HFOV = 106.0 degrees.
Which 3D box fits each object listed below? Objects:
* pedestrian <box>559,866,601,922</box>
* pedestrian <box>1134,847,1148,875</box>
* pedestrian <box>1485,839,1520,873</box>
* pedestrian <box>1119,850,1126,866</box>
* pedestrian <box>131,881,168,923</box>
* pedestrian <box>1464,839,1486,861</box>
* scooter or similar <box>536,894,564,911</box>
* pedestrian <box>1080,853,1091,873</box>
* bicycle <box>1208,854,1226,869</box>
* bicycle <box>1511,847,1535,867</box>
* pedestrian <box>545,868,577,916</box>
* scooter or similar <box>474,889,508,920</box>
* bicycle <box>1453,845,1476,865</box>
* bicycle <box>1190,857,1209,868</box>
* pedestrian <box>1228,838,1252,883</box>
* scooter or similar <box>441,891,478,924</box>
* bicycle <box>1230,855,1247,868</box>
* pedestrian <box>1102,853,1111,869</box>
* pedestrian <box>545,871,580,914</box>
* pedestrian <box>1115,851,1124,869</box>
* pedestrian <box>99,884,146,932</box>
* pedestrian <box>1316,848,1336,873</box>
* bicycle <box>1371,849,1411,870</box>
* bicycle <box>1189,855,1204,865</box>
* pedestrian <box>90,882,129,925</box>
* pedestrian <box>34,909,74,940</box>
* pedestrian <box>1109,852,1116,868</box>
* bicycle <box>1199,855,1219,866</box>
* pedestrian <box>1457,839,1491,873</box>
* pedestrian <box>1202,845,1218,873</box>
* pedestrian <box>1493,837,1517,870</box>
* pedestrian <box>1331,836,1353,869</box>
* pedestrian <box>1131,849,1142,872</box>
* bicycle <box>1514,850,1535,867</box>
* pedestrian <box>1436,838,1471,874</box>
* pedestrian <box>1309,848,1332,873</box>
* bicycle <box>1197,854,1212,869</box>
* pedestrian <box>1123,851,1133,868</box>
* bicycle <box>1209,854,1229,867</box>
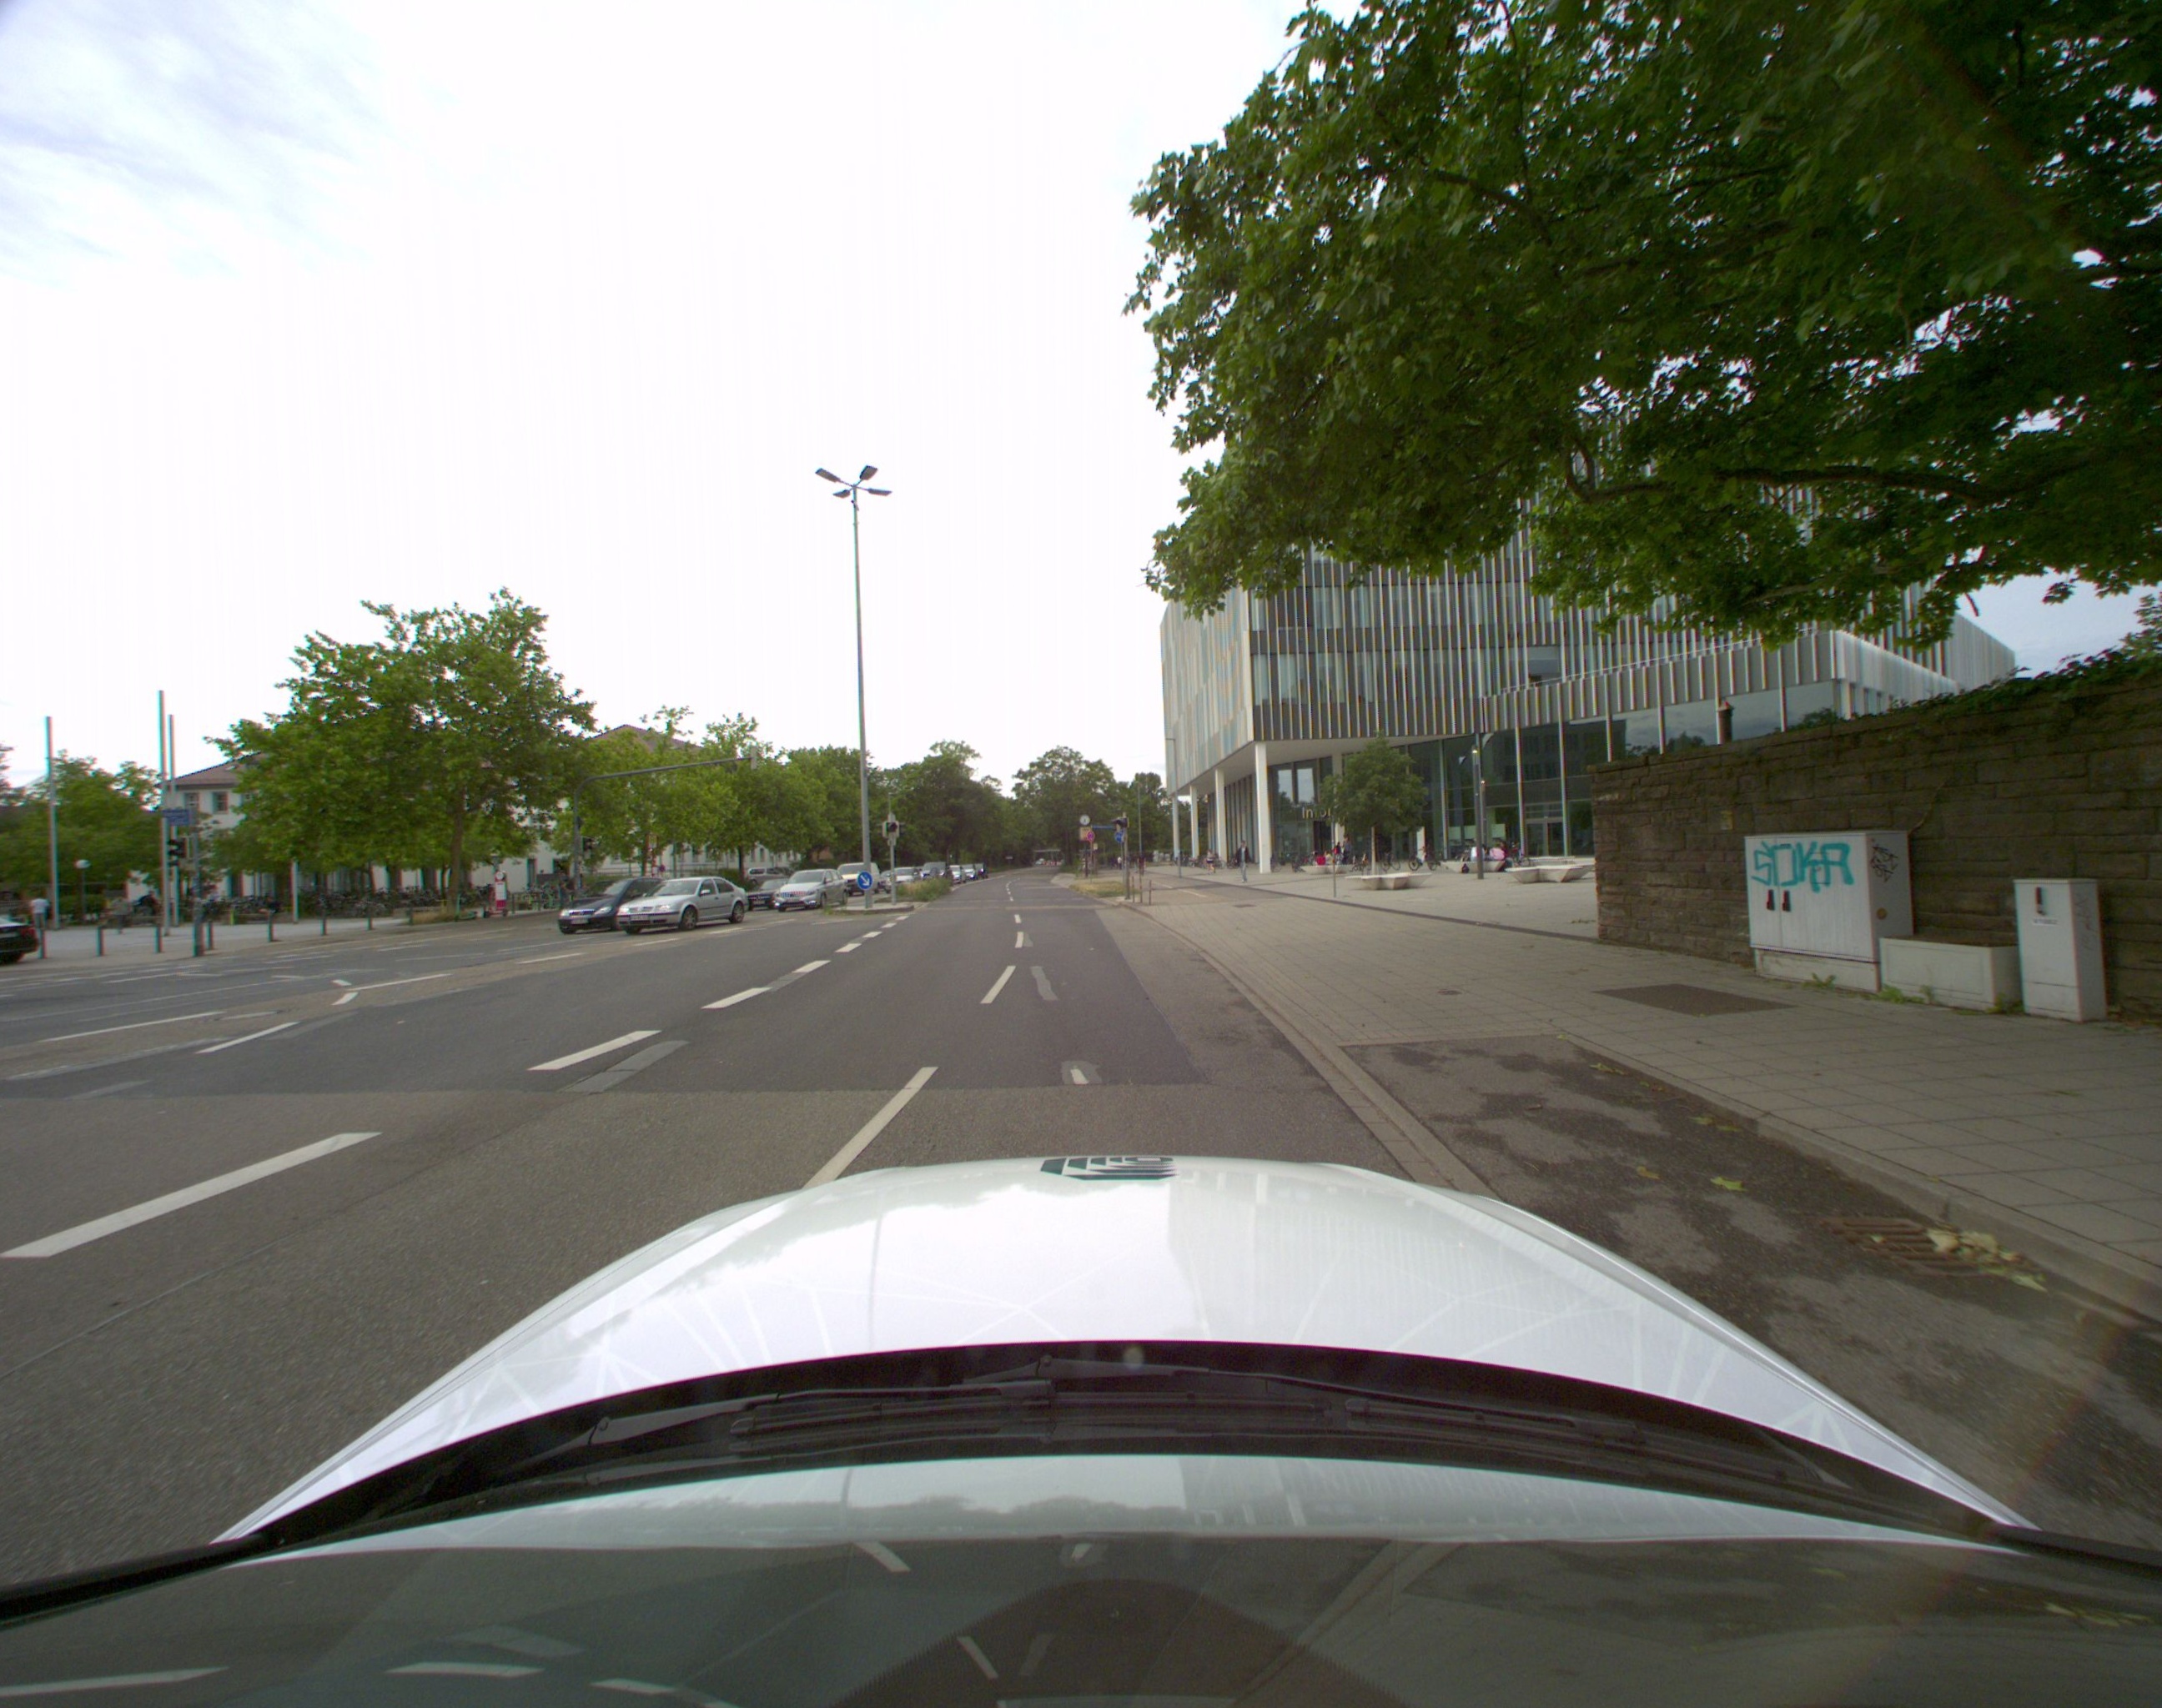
[{"bbox_3d":[-18.945,1.501,30.800,0.892,2.013,1.008,-2,-1,-3],"label":"pedestrian"},{"bbox_3d":[4.379,0.523,59.792,0.840,2.013,0.894,-4,-1,1],"label":"pedestrian"},{"bbox_3d":[16.073,0.066,31.074,0.905,1.257,0.879,-1,-1,2],"label":"pedestrian"},{"bbox_3d":[5.429,0.539,105.902,0.821,2.013,0.720,-3,-1,-2],"label":"pedestrian"},{"bbox_3d":[-46.971,2.404,41.061,0.890,2.013,0.797,-3,-1,6],"label":"pedestrian"},{"bbox_3d":[15.554,-0.155,32.167,0.629,0.823,0.736,-3,-1,15],"label":"pedestrian"},{"bbox_3d":[-24.754,2.257,37.985,0.405,0.693,1.290,-1,0,2],"label":"scooter or similar"},{"bbox_3d":[0.443,0.898,81.785,0.910,2.013,0.853,-4,1,-2],"label":"pedestrian"},{"bbox_3d":[10.527,0.569,63.192,0.608,1.080,1.955,-4,0,-12],"label":"bicycle"},{"bbox_3d":[20.678,0.134,38.101,1.560,0.899,0.503,-2,-1,-45],"label":"bicycle"},{"bbox_3d":[-22.253,1.599,34.869,0.801,2.014,0.924,0,-1,-7],"label":"pedestrian"},{"bbox_3d":[-23.325,1.998,32.229,0.359,1.140,1.319,-3,-1,0],"label":"scooter or similar"},{"bbox_3d":[18.543,0.044,39.396,1.365,0.899,0.536,-2,-1,-45],"label":"bicycle"},{"bbox_3d":[10.678,0.783,73.615,1.601,0.875,0.556,-3,-1,-1],"label":"bicycle"},{"bbox_3d":[7.303,0.297,37.383,0.839,2.013,0.894,-2,-1,1],"label":"pedestrian"},{"bbox_3d":[-23.339,1.990,30.607,0.359,1.140,1.319,-3,-1,0],"label":"scooter or similar"},{"bbox_3d":[11.946,0.566,61.725,1.496,0.929,0.435,-3,1,-40],"label":"bicycle"},{"bbox_3d":[3.306,0.862,105.784,0.924,2.013,1.038,-3,-1,-5],"label":"pedestrian"},{"bbox_3d":[-23.099,1.698,36.324,0.893,1.803,0.934,-3,-1,-4],"label":"pedestrian"},{"bbox_3d":[4.525,0.726,95.894,0.924,2.013,1.038,-3,-1,-5],"label":"pedestrian"},{"bbox_3d":[-41.628,2.318,35.378,0.795,2.013,1.091,-2,-1,-18],"label":"pedestrian"},{"bbox_3d":[12.348,0.333,41.118,0.885,1.193,0.848,-3,-1,13],"label":"pedestrian"},{"bbox_3d":[16.455,0.274,43.256,2.199,1.006,0.774,-2,0,-31],"label":"bicycle"},{"bbox_3d":[10.831,0.529,76.526,1.279,0.874,0.556,-3,0,-1],"label":"bicycle"},{"bbox_3d":[-46.836,2.387,39.266,0.785,2.013,0.995,-3,-1,28],"label":"pedestrian"},{"bbox_3d":[-49.658,3.395,39.382,0.890,1.418,0.797,-3,-1,6],"label":"pedestrian"},{"bbox_3d":[4.085,0.806,105.977,0.822,2.013,0.719,-3,-1,-5],"label":"pedestrian"},{"bbox_3d":[11.103,0.533,70.763,1.601,0.875,0.556,-3,-1,-1],"label":"bicycle"},{"bbox_3d":[14.920,0.077,30.929,0.905,1.257,0.879,-1,-1,2],"label":"pedestrian"},{"bbox_3d":[8.475,0.335,53.629,0.840,1.836,0.894,-2,-1,-2],"label":"pedestrian"},{"bbox_3d":[16.308,-0.013,31.339,0.641,1.278,0.647,-1,-1,13],"label":"pedestrian"},{"bbox_3d":[16.665,-0.098,52.014,1.175,2.062,1.138,-1,-1,8],"label":"pedestrian"},{"bbox_3d":[5.100,0.610,74.649,0.840,2.013,0.894,-2,-1,-1],"label":"pedestrian"},{"bbox_3d":[20.794,0.214,38.186,1.194,0.691,0.484,-4,1,-45],"label":"bicycle"},{"bbox_3d":[14.616,0.086,31.972,0.909,1.367,0.875,0,-1,-11],"label":"pedestrian"},{"bbox_3d":[11.904,0.308,40.512,0.834,1.206,0.900,-3,-1,33],"label":"pedestrian"},{"bbox_3d":[10.007,0.580,65.986,0.635,1.140,2.197,-5,0,-5],"label":"bicycle"},{"bbox_3d":[5.579,0.674,96.116,0.924,2.013,1.038,-3,-1,-5],"label":"pedestrian"},{"bbox_3d":[11.608,0.545,68.692,1.596,0.936,0.570,-5,0,9],"label":"bicycle"}]
